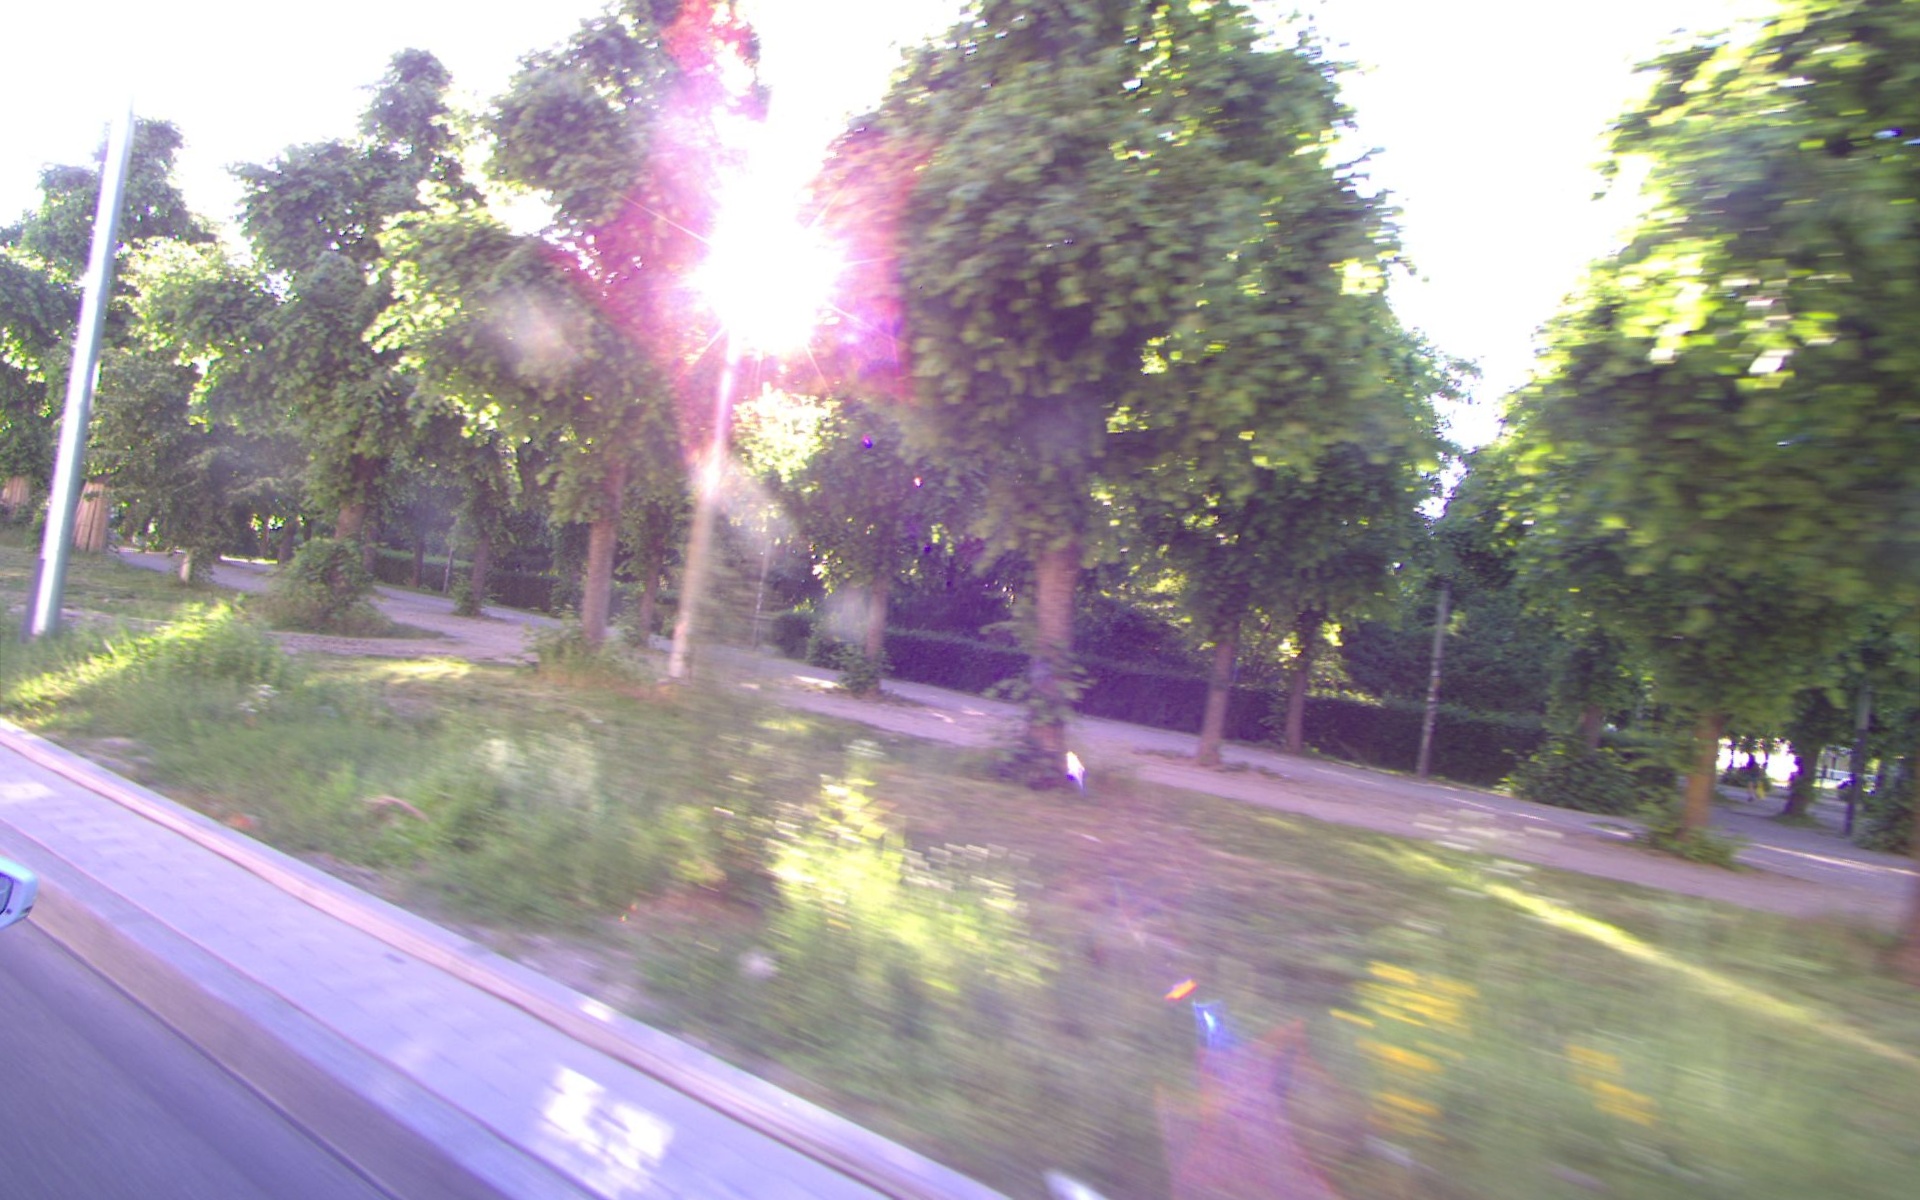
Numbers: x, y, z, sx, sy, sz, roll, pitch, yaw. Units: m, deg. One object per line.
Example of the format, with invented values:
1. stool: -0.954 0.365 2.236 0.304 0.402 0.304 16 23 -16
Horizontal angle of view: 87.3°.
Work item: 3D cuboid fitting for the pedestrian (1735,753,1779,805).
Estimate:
1. pedestrian: 27.669 6.206 34.938 0.823 1.601 0.682 8 -1 11
